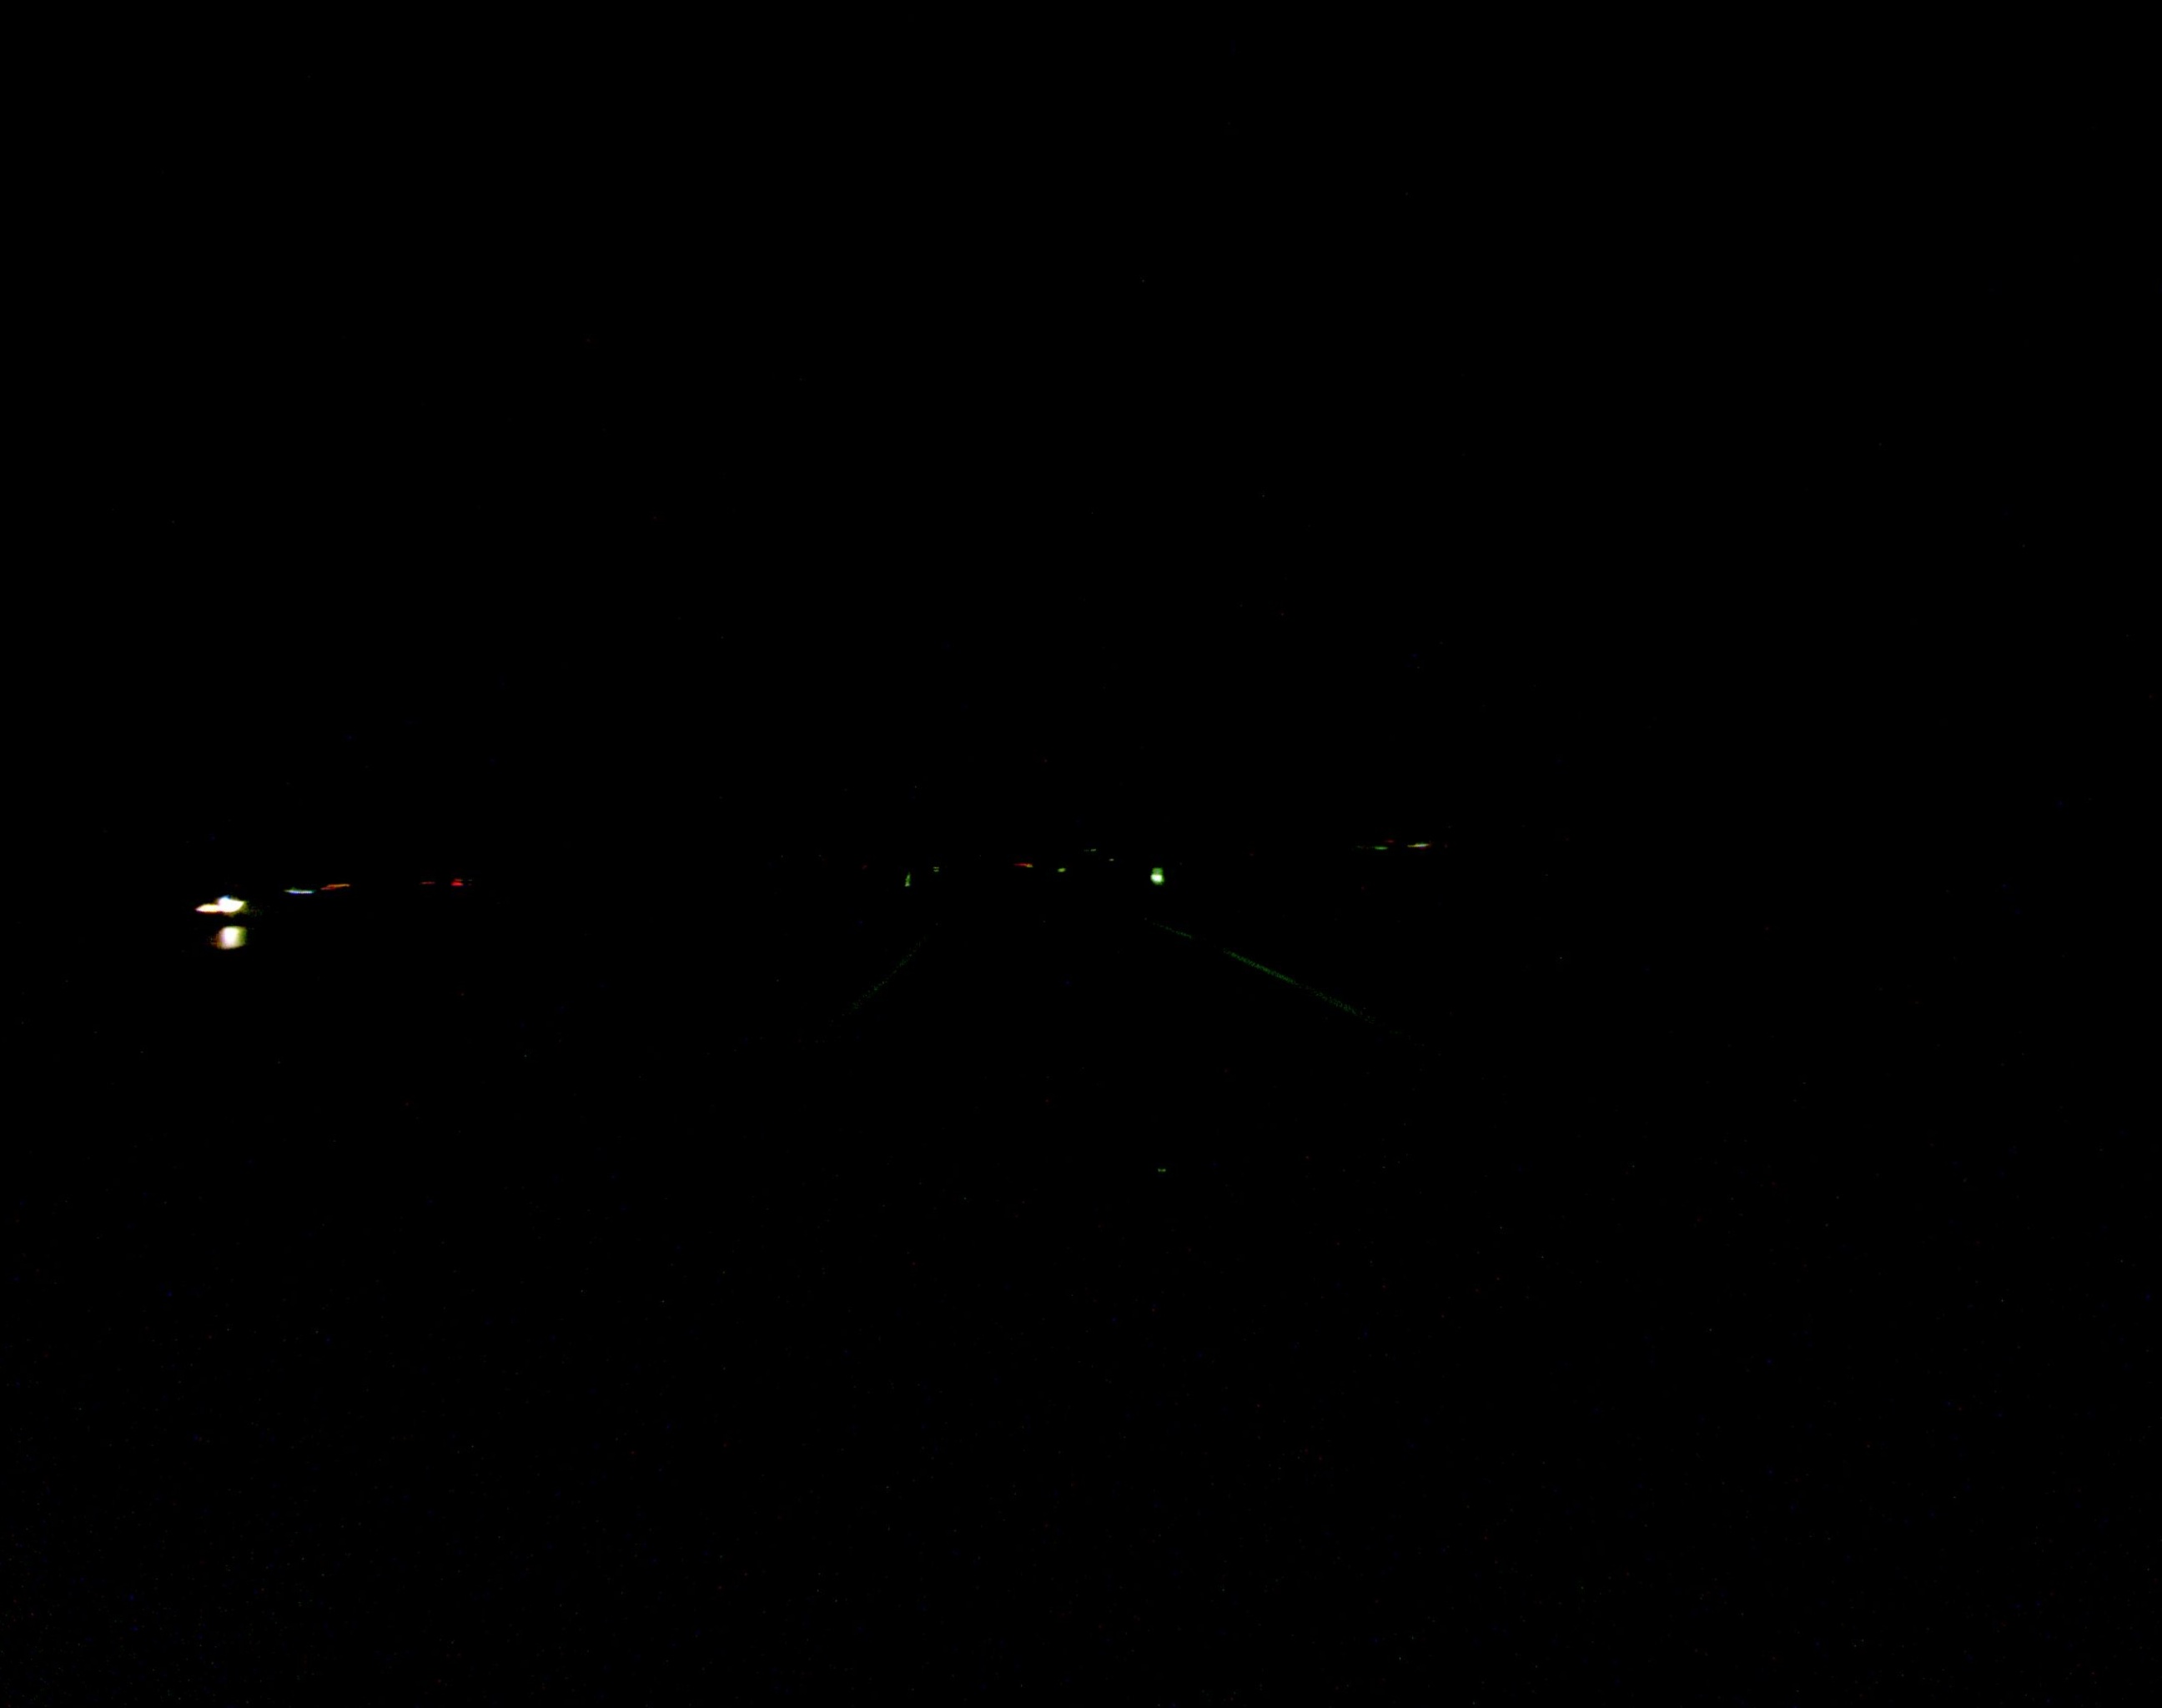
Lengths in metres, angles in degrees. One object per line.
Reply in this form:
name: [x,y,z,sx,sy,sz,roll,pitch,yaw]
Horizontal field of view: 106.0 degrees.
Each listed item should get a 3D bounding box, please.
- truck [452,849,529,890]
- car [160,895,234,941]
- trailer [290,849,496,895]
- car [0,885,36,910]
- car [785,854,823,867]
truck: [-55.801,1.407,77.055,2.564,3.711,5.491,1,1,43]
car: [-37.498,2.662,34.533,3.948,1.640,1.771,0,0,37]
trailer: [-60.377,1.437,72.124,2.567,3.725,13.735,1,1,43]
car: [-74.483,3.004,55.450,1.974,1.618,4.025,0,0,37]
car: [-34.928,0.819,102.774,1.975,1.519,4.025,1,1,41]
